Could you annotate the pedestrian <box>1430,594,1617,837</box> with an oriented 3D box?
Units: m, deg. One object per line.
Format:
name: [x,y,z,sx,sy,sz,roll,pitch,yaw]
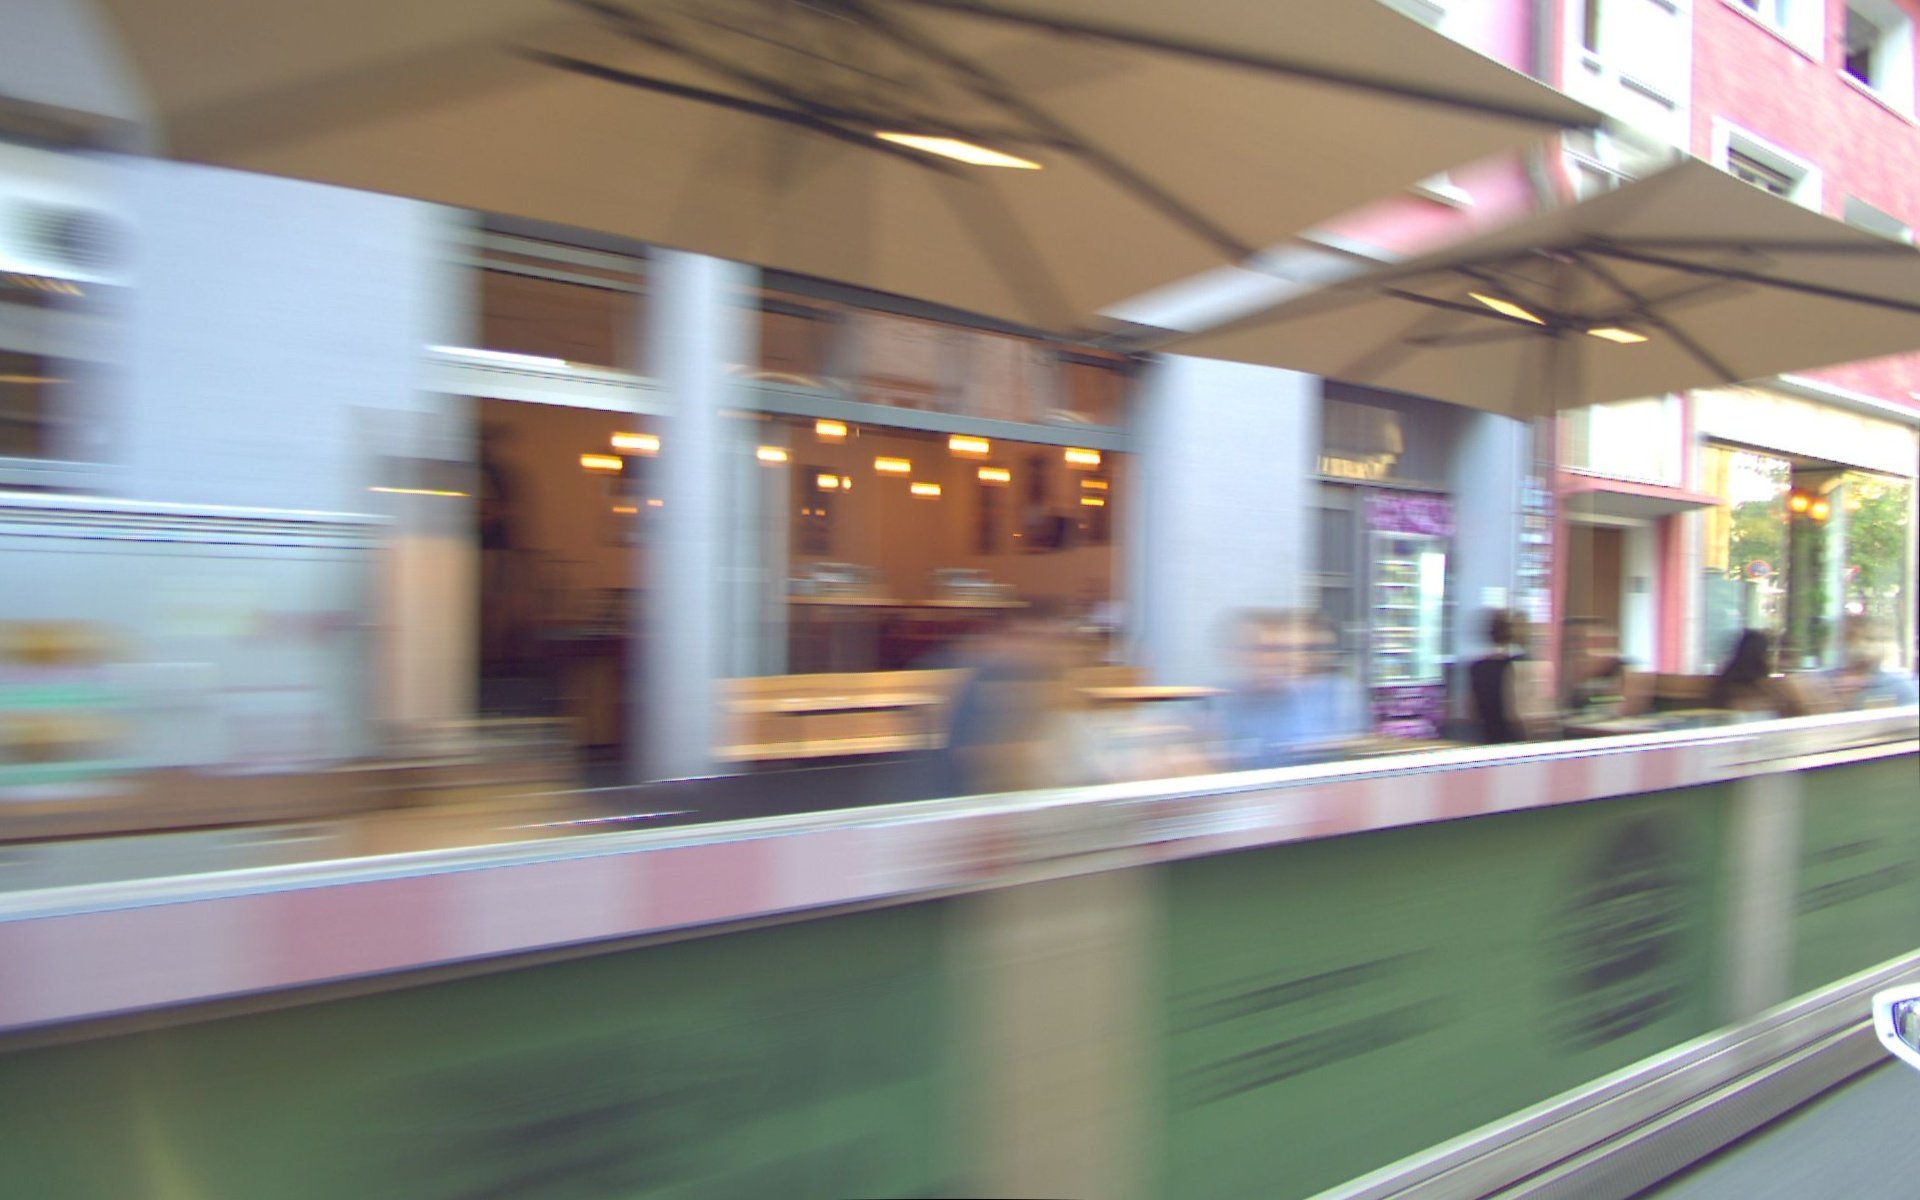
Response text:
pedestrian: [2.728,0.519,4.877,0.542,1.077,0.605,1,1,-38]

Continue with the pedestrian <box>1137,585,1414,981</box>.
pedestrian: [0.977,0.502,3.143,0.542,1.077,0.605,1,1,-38]

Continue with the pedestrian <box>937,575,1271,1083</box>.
pedestrian: [0.350,0.485,2.536,0.542,1.077,0.605,1,1,-38]

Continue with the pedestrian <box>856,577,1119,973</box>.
pedestrian: [0.076,0.476,3.130,0.542,1.077,0.596,1,1,-38]

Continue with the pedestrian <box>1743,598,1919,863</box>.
pedestrian: [3.986,0.540,4.509,0.542,1.077,0.605,1,1,-38]

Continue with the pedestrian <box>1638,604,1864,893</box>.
pedestrian: [3.294,0.565,4.192,0.542,1.077,0.605,1,1,-38]

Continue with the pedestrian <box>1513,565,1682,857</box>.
pedestrian: [3.501,0.568,5.530,0.542,1.492,0.605,1,1,-38]
